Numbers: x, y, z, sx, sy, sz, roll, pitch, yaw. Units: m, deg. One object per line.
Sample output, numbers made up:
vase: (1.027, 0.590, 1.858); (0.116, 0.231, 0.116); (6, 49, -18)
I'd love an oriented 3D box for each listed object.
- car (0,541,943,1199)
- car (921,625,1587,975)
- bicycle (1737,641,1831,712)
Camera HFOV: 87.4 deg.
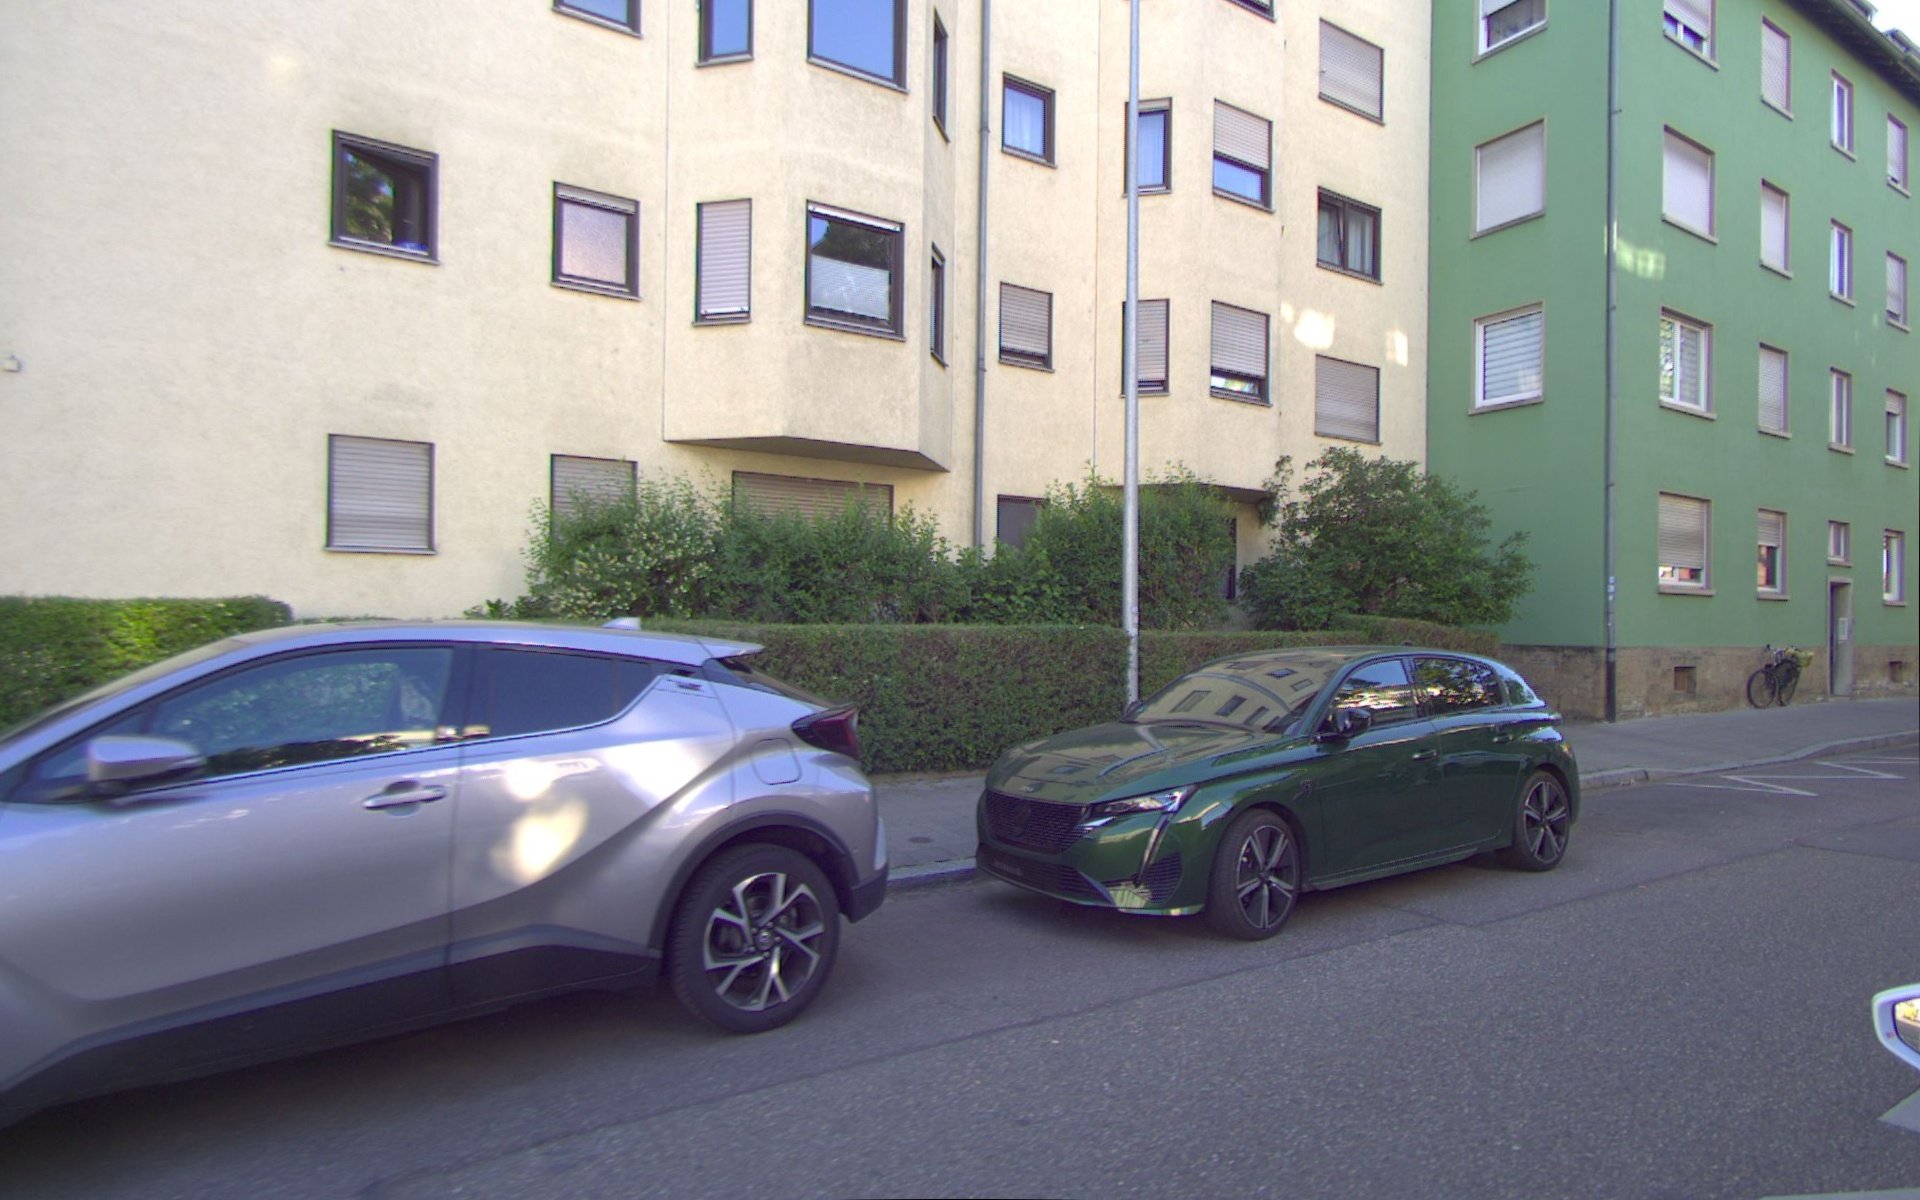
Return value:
car: (-2.209, 0.763, 3.756); (3.962, 1.681, 1.890); (2, -4, -36)
car: (1.945, 0.961, 6.243); (4.091, 1.516, 1.743); (2, -3, -33)
bicycle: (15.088, 1.372, 18.371); (2.252, 1.194, 0.548); (1, 2, -31)
